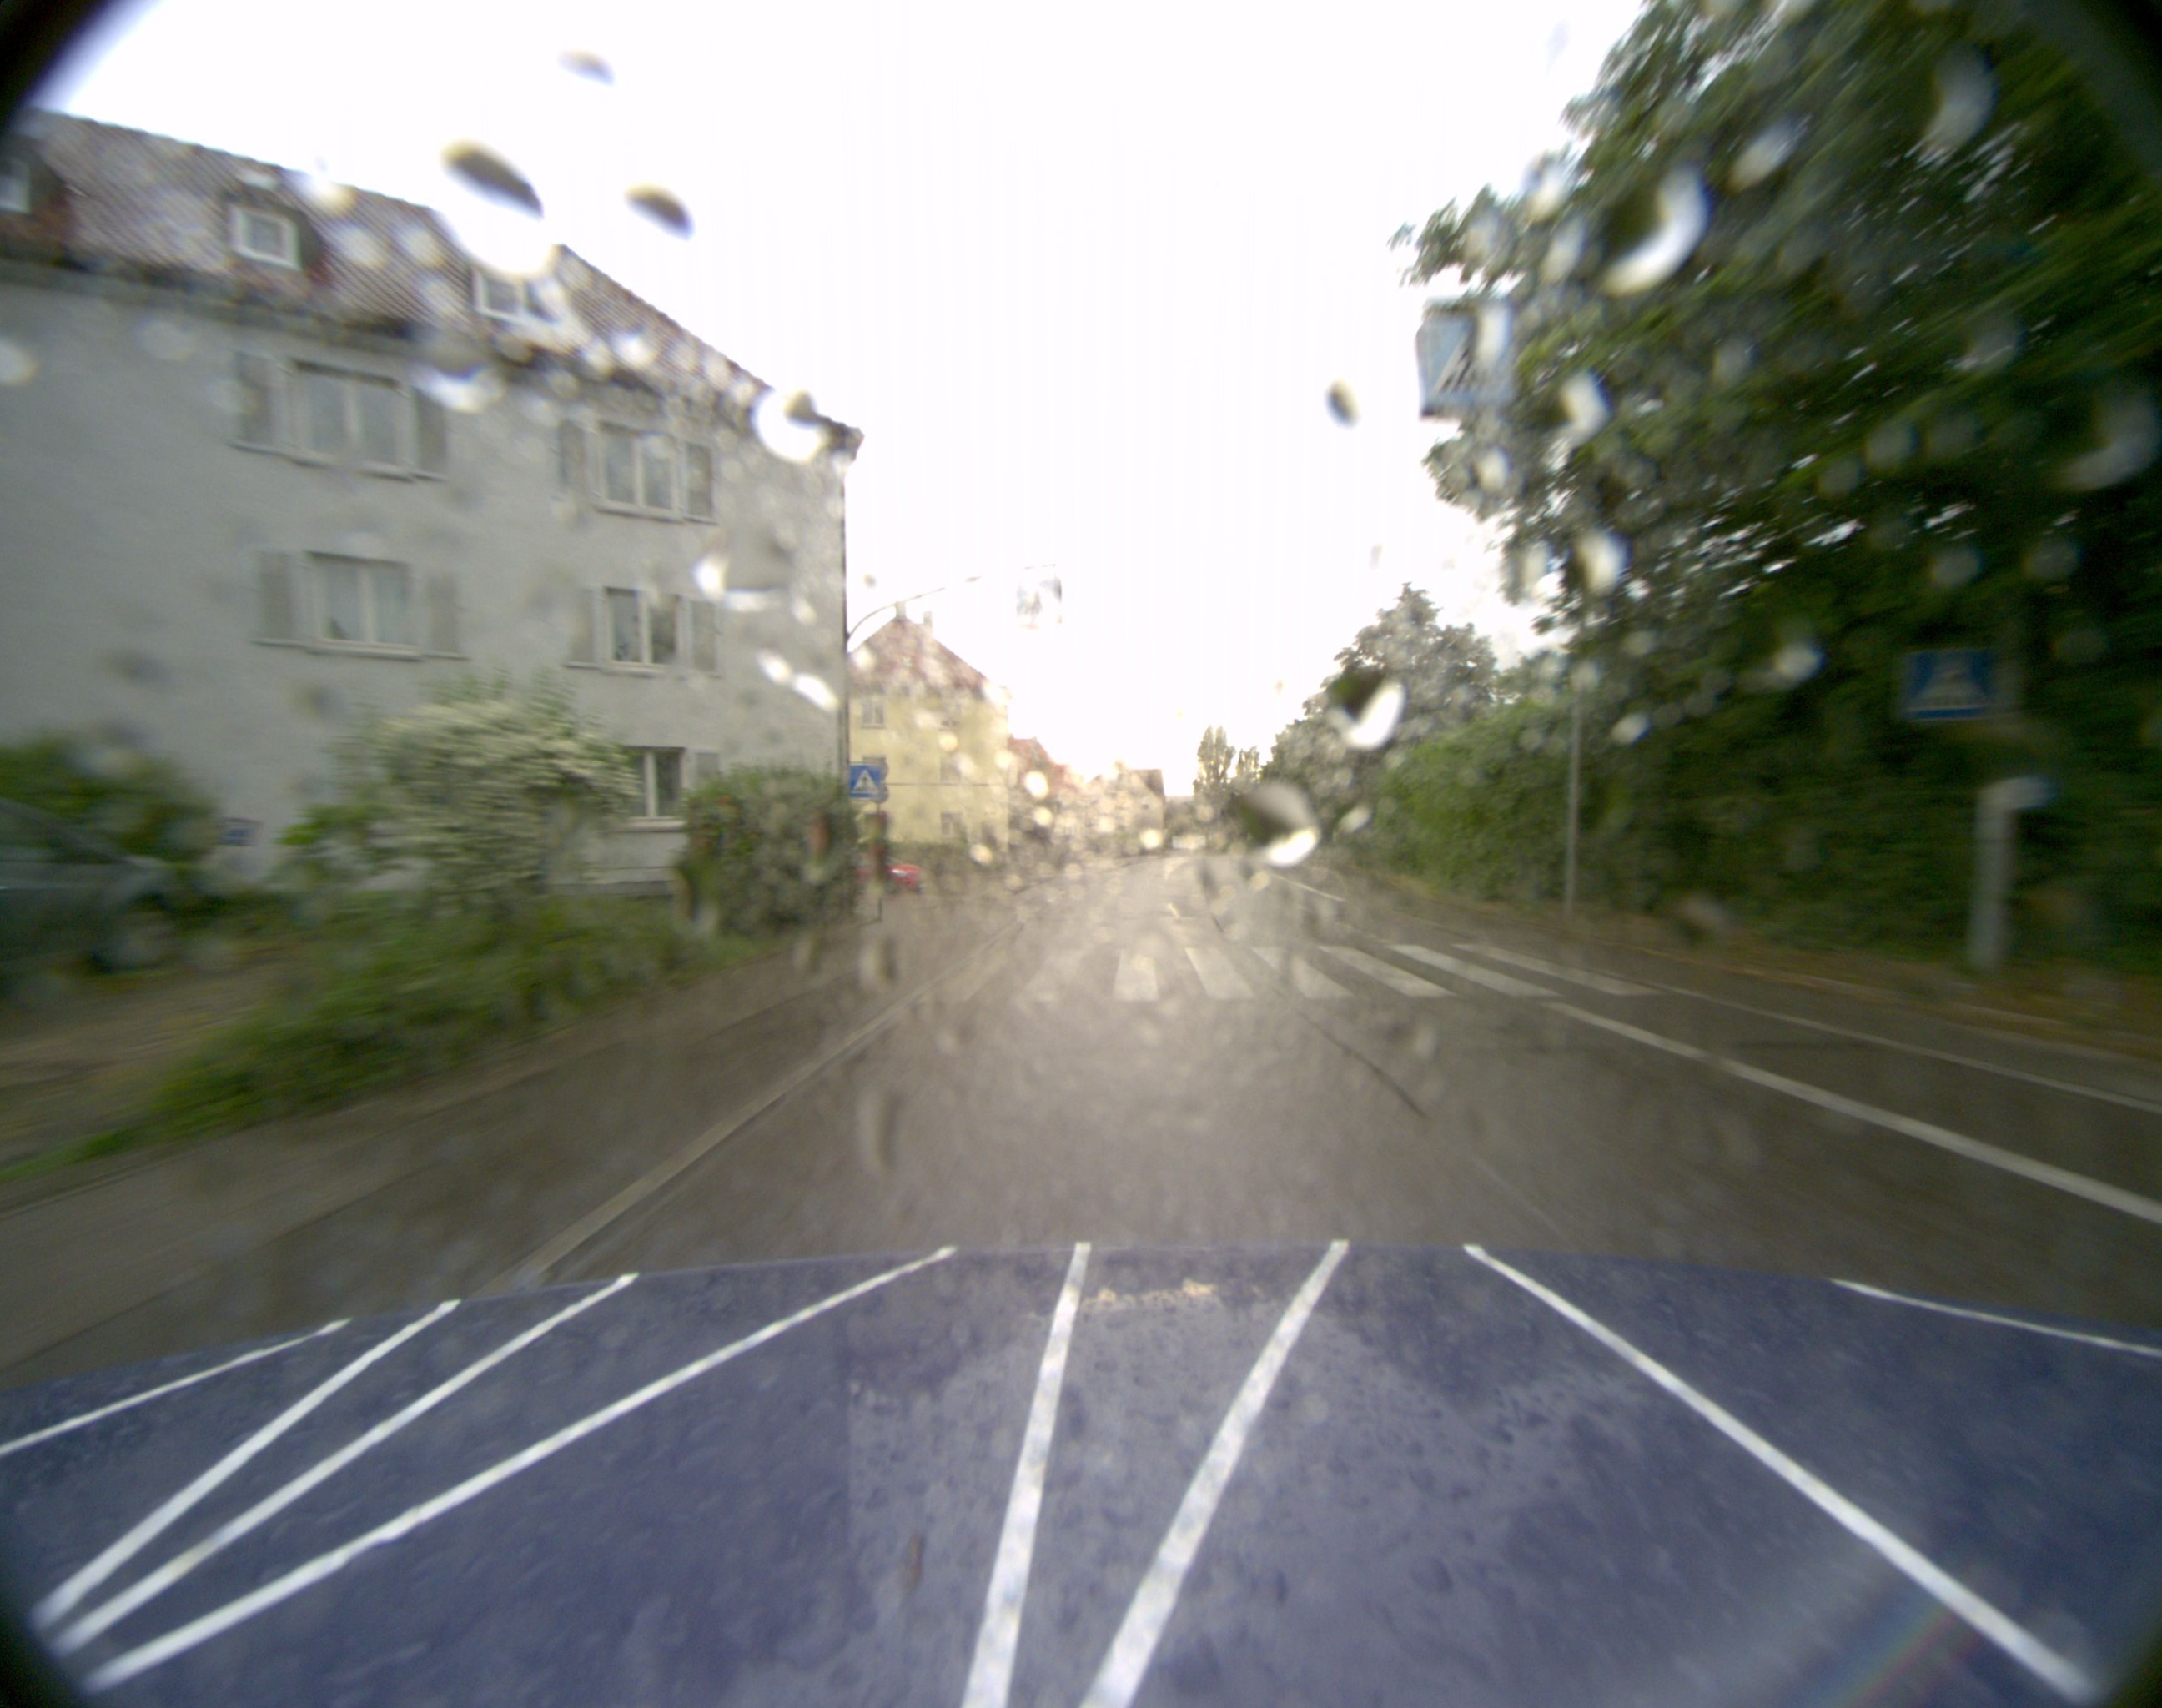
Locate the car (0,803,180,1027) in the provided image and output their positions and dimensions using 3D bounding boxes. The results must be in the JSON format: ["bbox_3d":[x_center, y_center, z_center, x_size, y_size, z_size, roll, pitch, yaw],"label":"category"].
[{"bbox_3d":[-8.509,0.466,4.922,1.726,1.555,3.786,2,3,-19],"label":"car"}]

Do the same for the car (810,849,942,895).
[{"bbox_3d":[-7.087,0.609,26.263,4.085,1.400,1.726,-2,1,20],"label":"car"}]

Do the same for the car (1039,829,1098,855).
[{"bbox_3d":[-0.947,-0.865,55.855,3.938,1.772,1.767,1,3,-18],"label":"car"}]
